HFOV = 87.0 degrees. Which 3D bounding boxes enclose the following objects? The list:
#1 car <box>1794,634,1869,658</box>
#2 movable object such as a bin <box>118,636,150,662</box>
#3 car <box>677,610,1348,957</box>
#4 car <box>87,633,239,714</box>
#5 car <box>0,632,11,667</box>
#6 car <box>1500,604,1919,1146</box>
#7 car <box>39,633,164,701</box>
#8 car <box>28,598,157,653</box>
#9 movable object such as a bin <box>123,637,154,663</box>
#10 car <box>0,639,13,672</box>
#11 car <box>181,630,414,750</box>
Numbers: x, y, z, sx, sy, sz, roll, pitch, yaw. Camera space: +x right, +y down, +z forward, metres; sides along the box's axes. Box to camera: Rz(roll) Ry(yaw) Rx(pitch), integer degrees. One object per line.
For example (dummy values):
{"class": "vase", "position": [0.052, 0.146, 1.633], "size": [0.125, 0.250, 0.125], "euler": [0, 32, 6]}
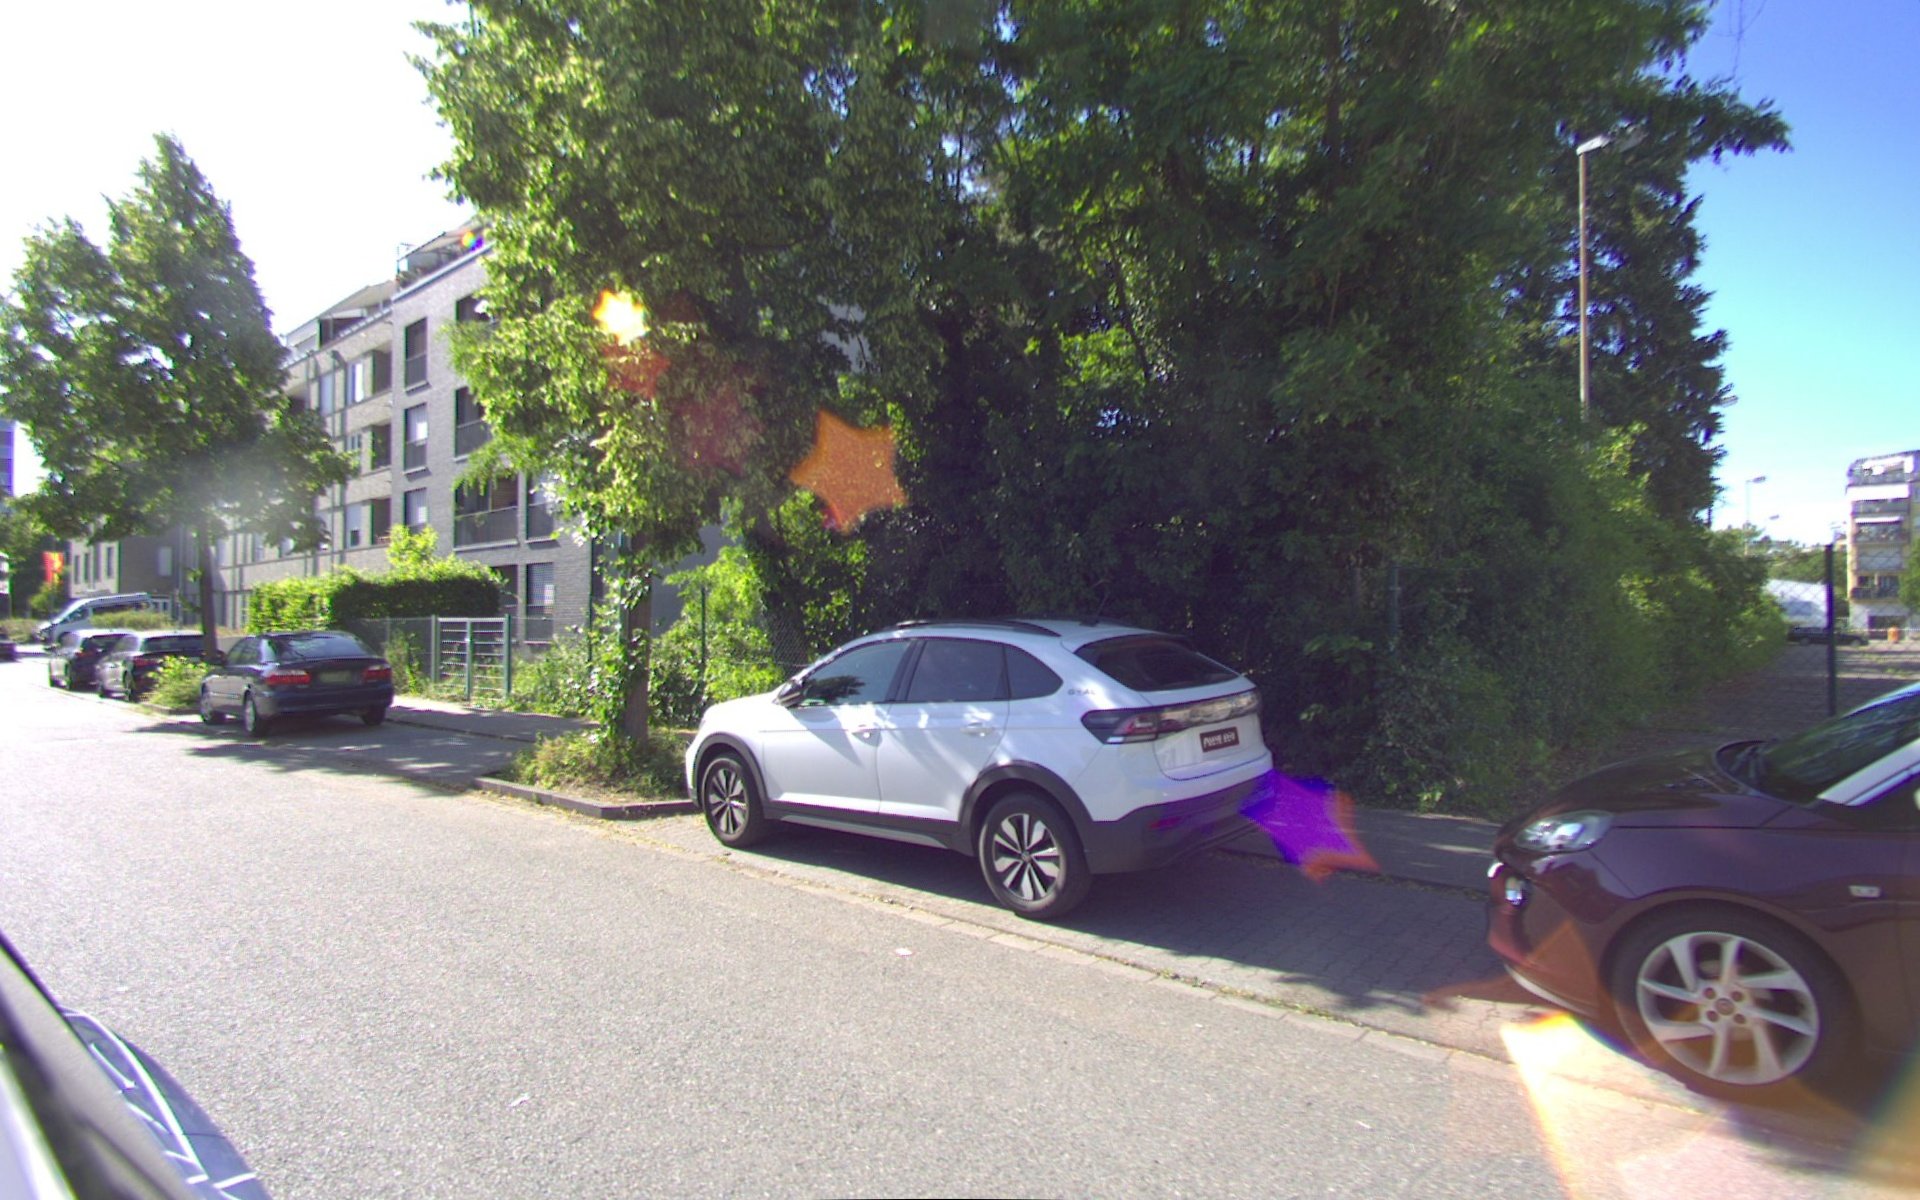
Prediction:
{"class": "car", "position": [62.783, 3.292, 72.956], "size": [3.998, 1.630, 1.973], "euler": [-1, -1, 41]}
{"class": "movable object such as a bin", "position": [-35.408, 2.101, 43.394], "size": [0.680, 1.045, 0.910], "euler": [-1, 1, 38]}
{"class": "car", "position": [0.130, 0.850, 6.467], "size": [4.000, 1.485, 1.821], "euler": [-1, 0, 41]}
{"class": "car", "position": [-17.170, 1.490, 21.742], "size": [4.025, 1.485, 1.821], "euler": [-1, 0, 41]}
{"class": "car", "position": [-43.595, 2.189, 45.016], "size": [3.560, 1.536, 1.610], "euler": [-2, -3, 40]}
{"class": "car", "position": [3.781, 0.763, 3.040], "size": [3.542, 1.485, 1.701], "euler": [-1, 0, 39]}
{"class": "car", "position": [-21.862, 1.639, 25.734], "size": [4.097, 1.485, 1.821], "euler": [-1, 0, 41]}
{"class": "car", "position": [-48.211, 1.429, 56.339], "size": [2.011, 2.924, 5.091], "euler": [-1, -2, 37]}
{"class": "movable object such as a bin", "position": [-34.834, 2.103, 42.907], "size": [0.677, 1.045, 0.852], "euler": [-1, 1, 38]}
{"class": "car", "position": [-39.734, 2.272, 41.068], "size": [3.561, 1.257, 1.610], "euler": [-2, 0, 42]}
{"class": "car", "position": [-10.079, 1.227, 15.265], "size": [4.357, 1.485, 1.821], "euler": [-1, 0, 41]}
